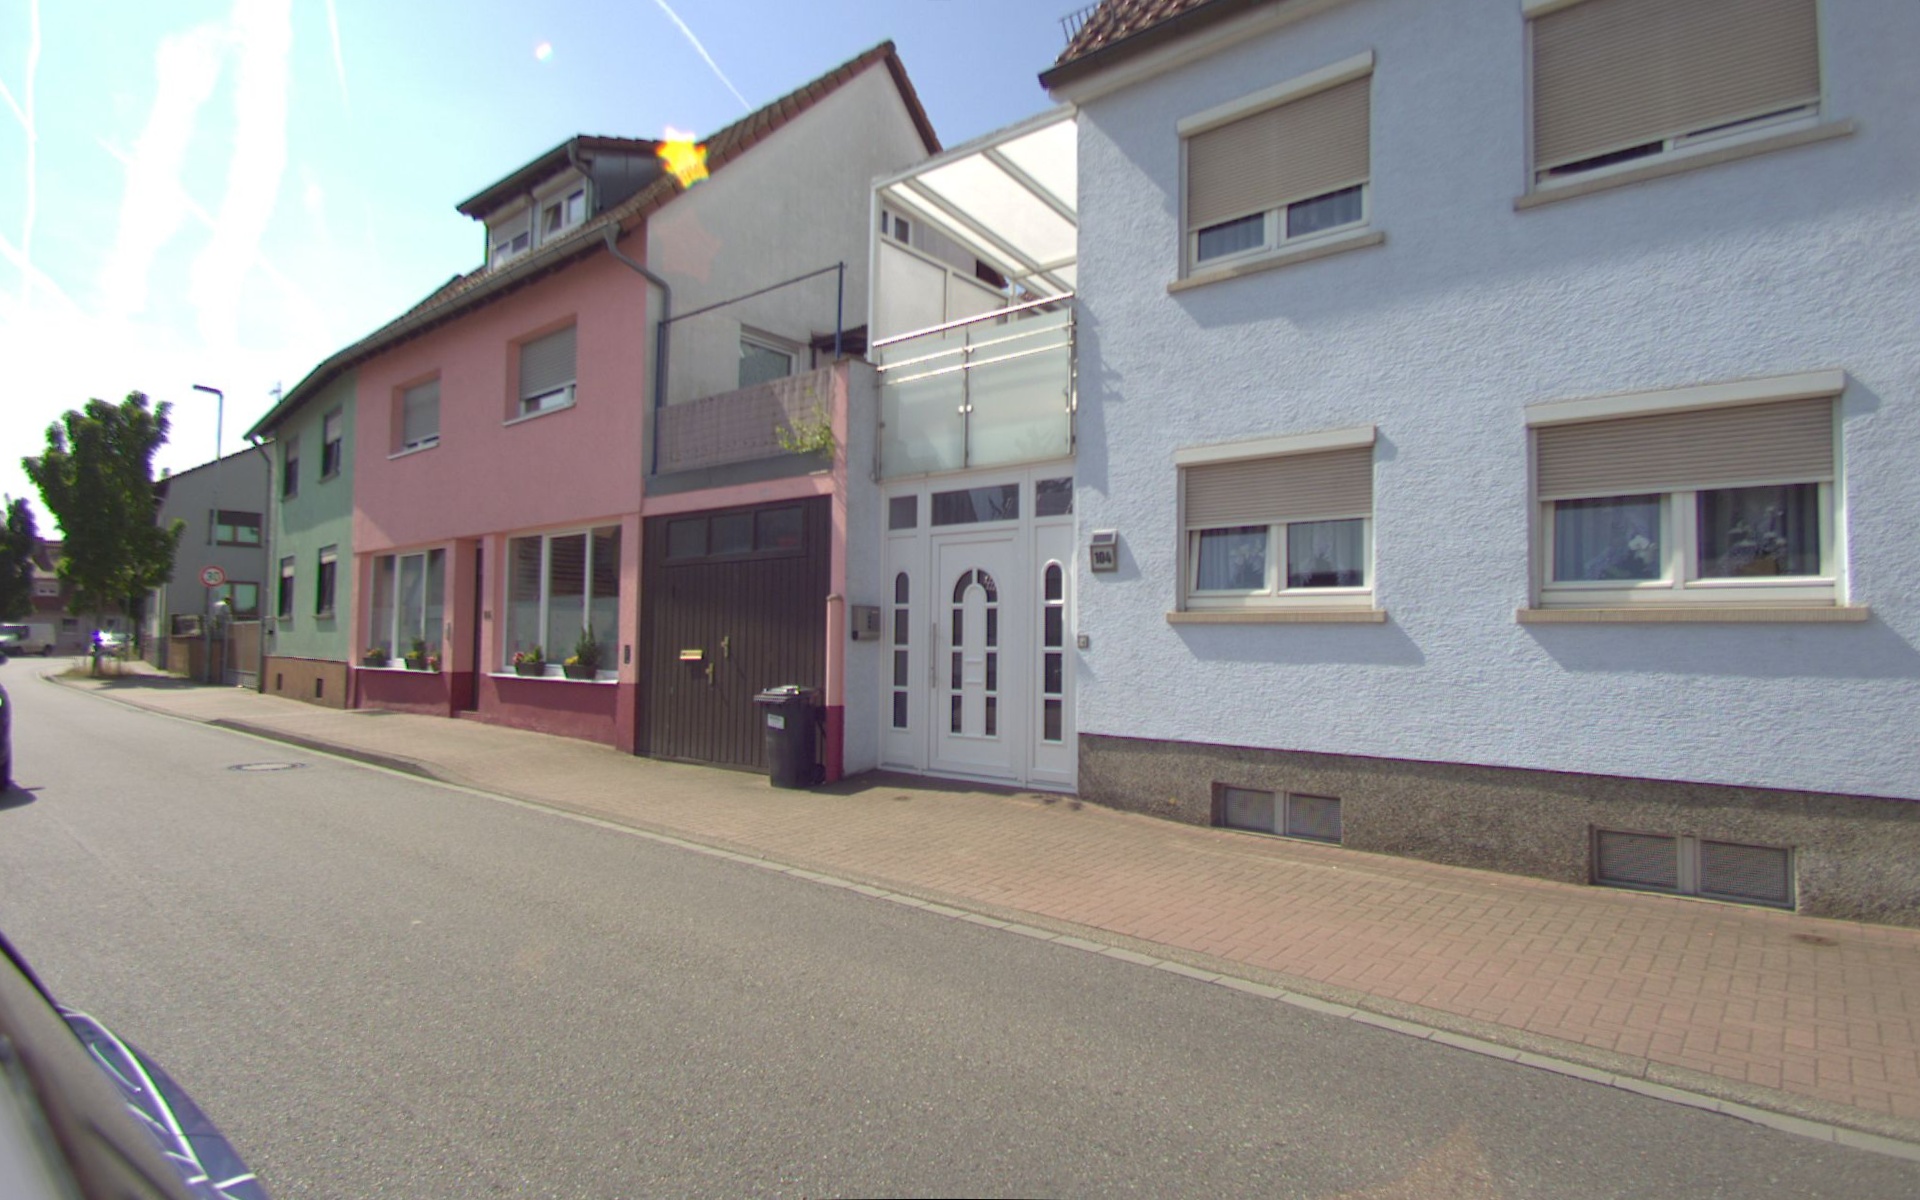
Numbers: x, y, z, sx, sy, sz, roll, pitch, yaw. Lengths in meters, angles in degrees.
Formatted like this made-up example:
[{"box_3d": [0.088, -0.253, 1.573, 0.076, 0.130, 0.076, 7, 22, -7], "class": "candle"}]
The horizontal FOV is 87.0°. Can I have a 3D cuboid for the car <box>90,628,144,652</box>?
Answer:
[{"box_3d": [-54.287, 2.553, 65.258, 1.493, 1.419, 3.601, 0, 0, -19], "class": "car"}]

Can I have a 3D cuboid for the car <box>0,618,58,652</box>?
[{"box_3d": [-55.494, 2.023, 59.638, 1.916, 1.866, 4.524, 0, 0, -19], "class": "car"}]

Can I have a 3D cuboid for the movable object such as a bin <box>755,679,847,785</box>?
[{"box_3d": [-1.498, 1.226, 9.559, 0.599, 0.886, 0.623, -1, 0, 42], "class": "movable object such as a bin"}]
